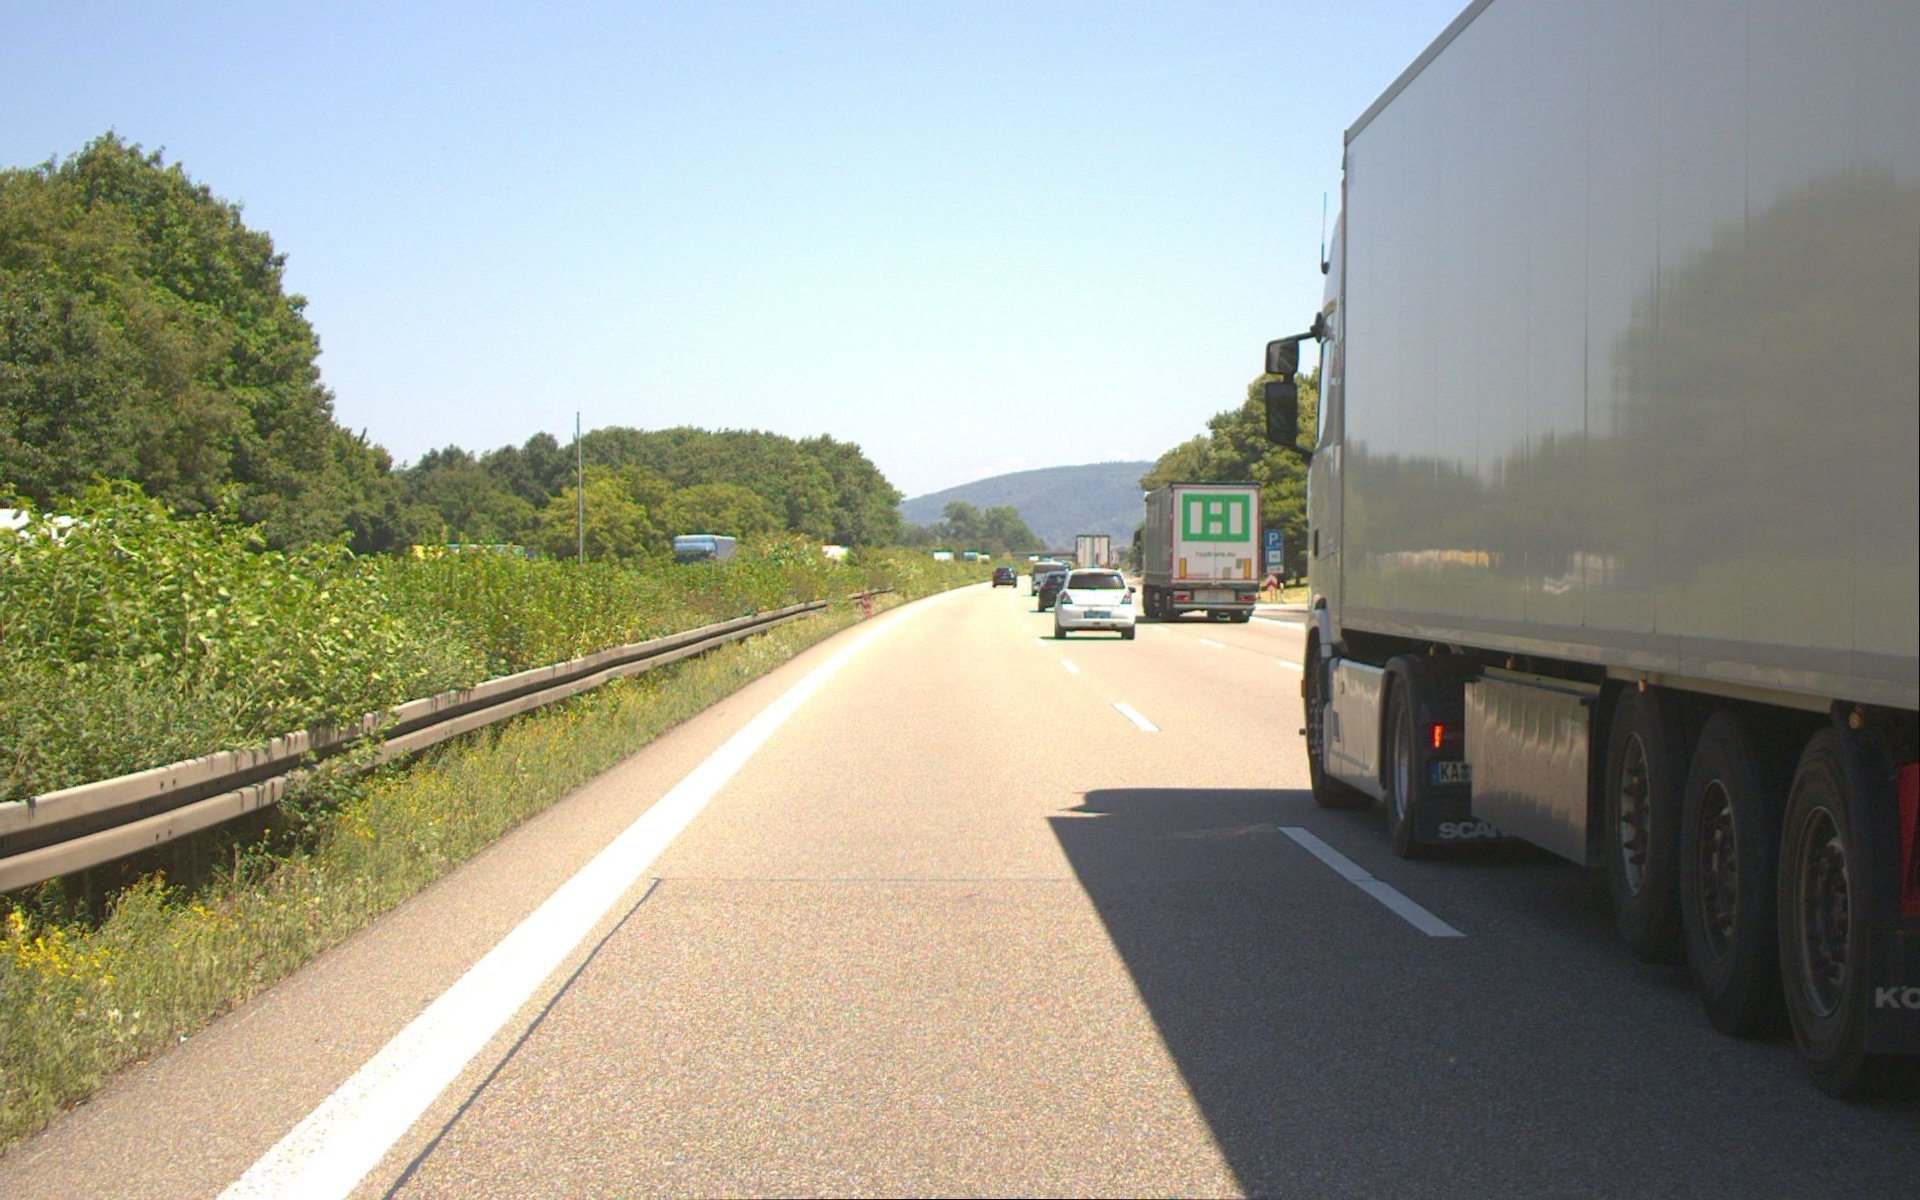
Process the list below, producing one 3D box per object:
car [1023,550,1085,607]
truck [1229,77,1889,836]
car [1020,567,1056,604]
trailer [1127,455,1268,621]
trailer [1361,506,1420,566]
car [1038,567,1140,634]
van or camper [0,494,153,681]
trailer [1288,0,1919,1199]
[{"bbox_3d":[3.266,-0.751,119.211,1.897,1.886,3.999,-1,0,5],"label":"car"},{"bbox_3d":[3.472,-0.822,21.163,3.229,4.143,4.560,0,1,0],"label":"truck"},{"bbox_3d":[4.333,-0.847,191.885,1.882,2.007,4.000,-1,1,0],"label":"car"},{"bbox_3d":[6.931,-1.794,102.118,3.181,4.612,12.050,0,1,-1],"label":"trailer"},{"bbox_3d":[28.808,-4.210,229.708,3.185,3.921,11.545,0,1,11],"label":"trailer"},{"bbox_3d":[2.781,-0.003,74.697,1.811,1.400,3.318,0,1,-5],"label":"car"},{"bbox_3d":[-16.746,-0.262,61.615,2.420,3.101,9.087,-1,1,0],"label":"van or camper"},{"bbox_3d":[3.521,-0.698,13.414,3.223,4.129,12.352,0,1,0],"label":"trailer"}]
